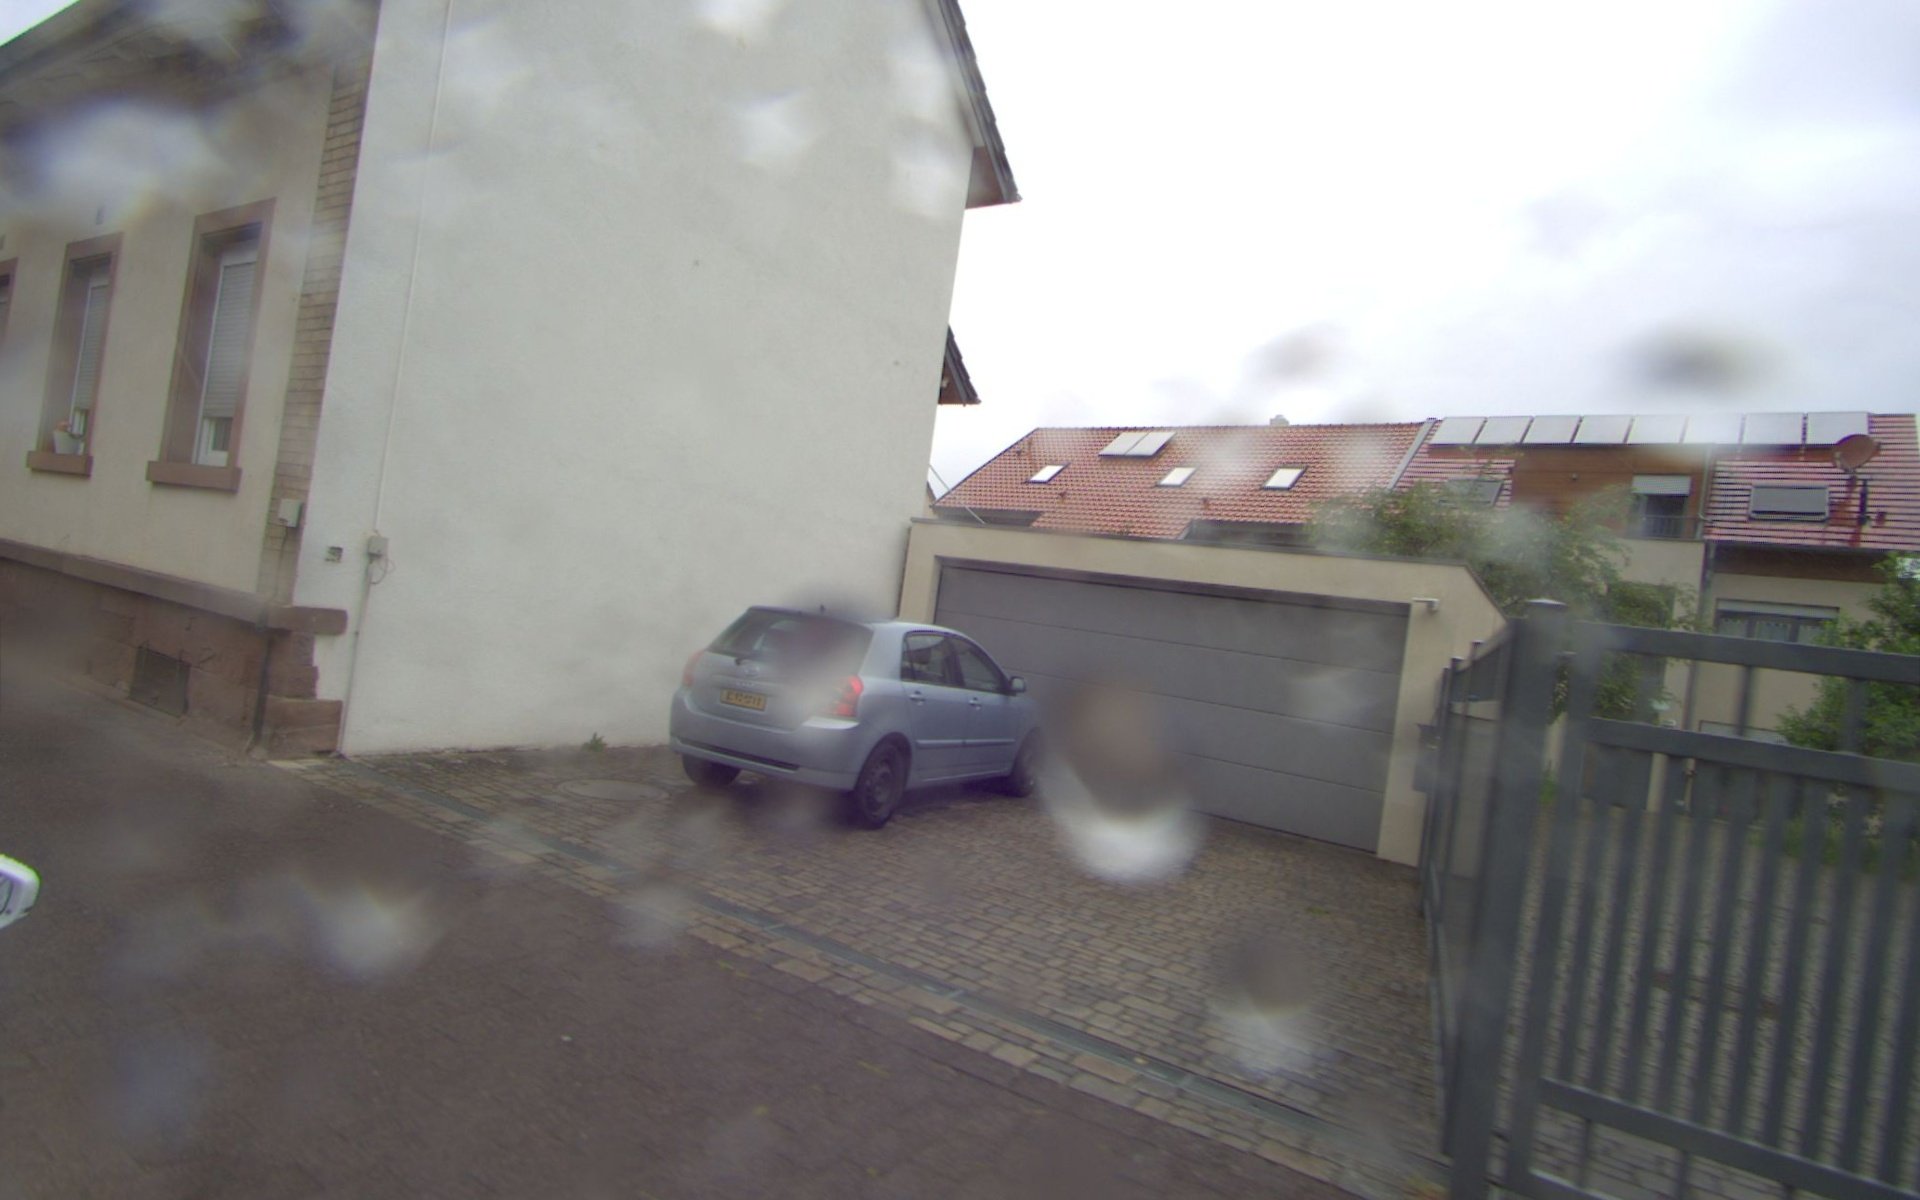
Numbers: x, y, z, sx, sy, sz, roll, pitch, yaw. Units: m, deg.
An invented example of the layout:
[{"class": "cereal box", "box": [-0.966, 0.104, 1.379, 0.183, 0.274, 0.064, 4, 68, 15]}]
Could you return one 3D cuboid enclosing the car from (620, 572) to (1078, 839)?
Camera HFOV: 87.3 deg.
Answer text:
[{"class": "car", "box": [-0.629, 0.859, 8.418, 1.819, 1.514, 3.909, 7, -3, 27]}]
